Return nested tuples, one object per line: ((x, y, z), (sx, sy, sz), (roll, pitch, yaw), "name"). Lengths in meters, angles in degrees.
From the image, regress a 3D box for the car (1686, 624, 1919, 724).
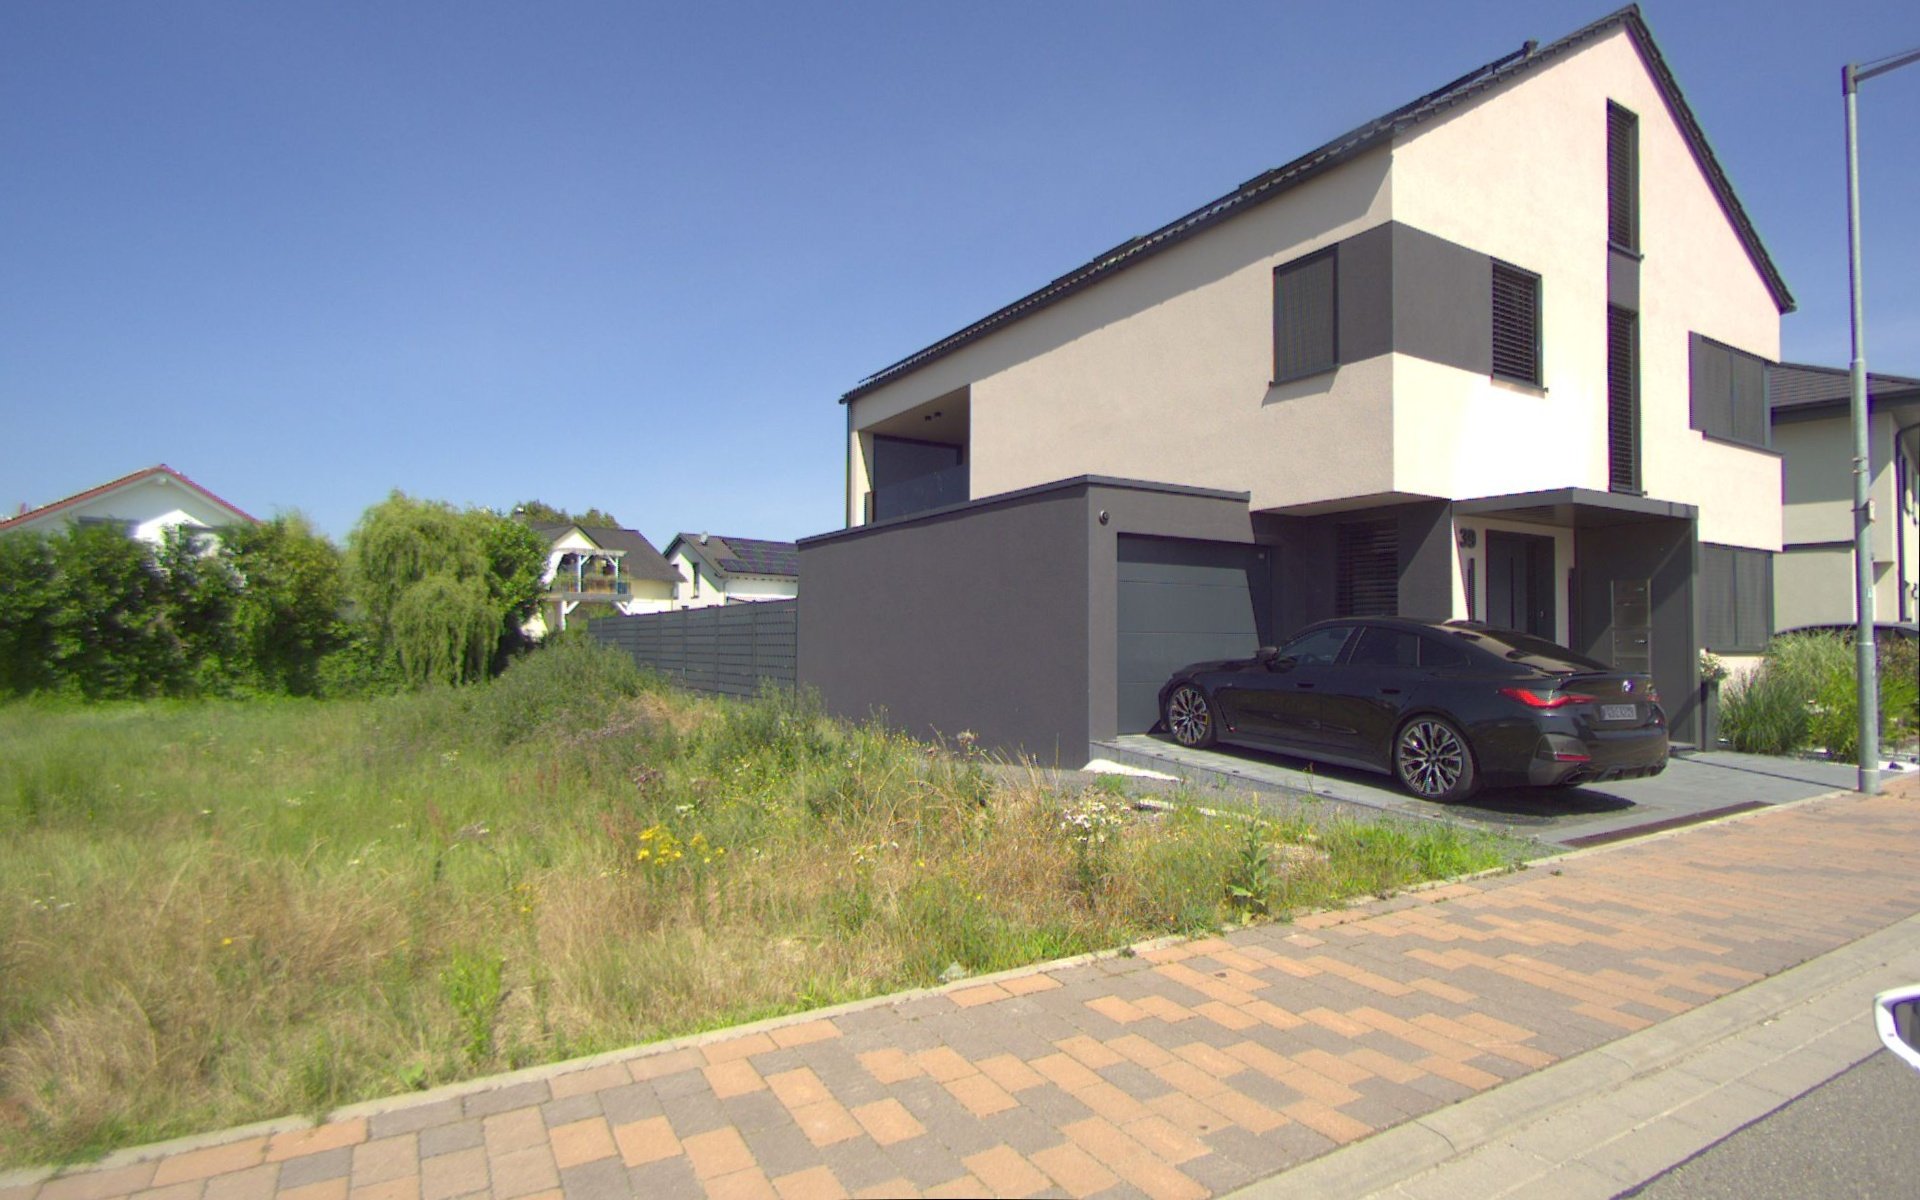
((14.661, 1.167, 16.593), (1.732, 1.506, 3.971), (1, -2, -28), "car")

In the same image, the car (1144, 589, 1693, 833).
((3.795, 0.760, 9.178), (1.750, 1.653, 4.354), (2, 0, -30), "car")
